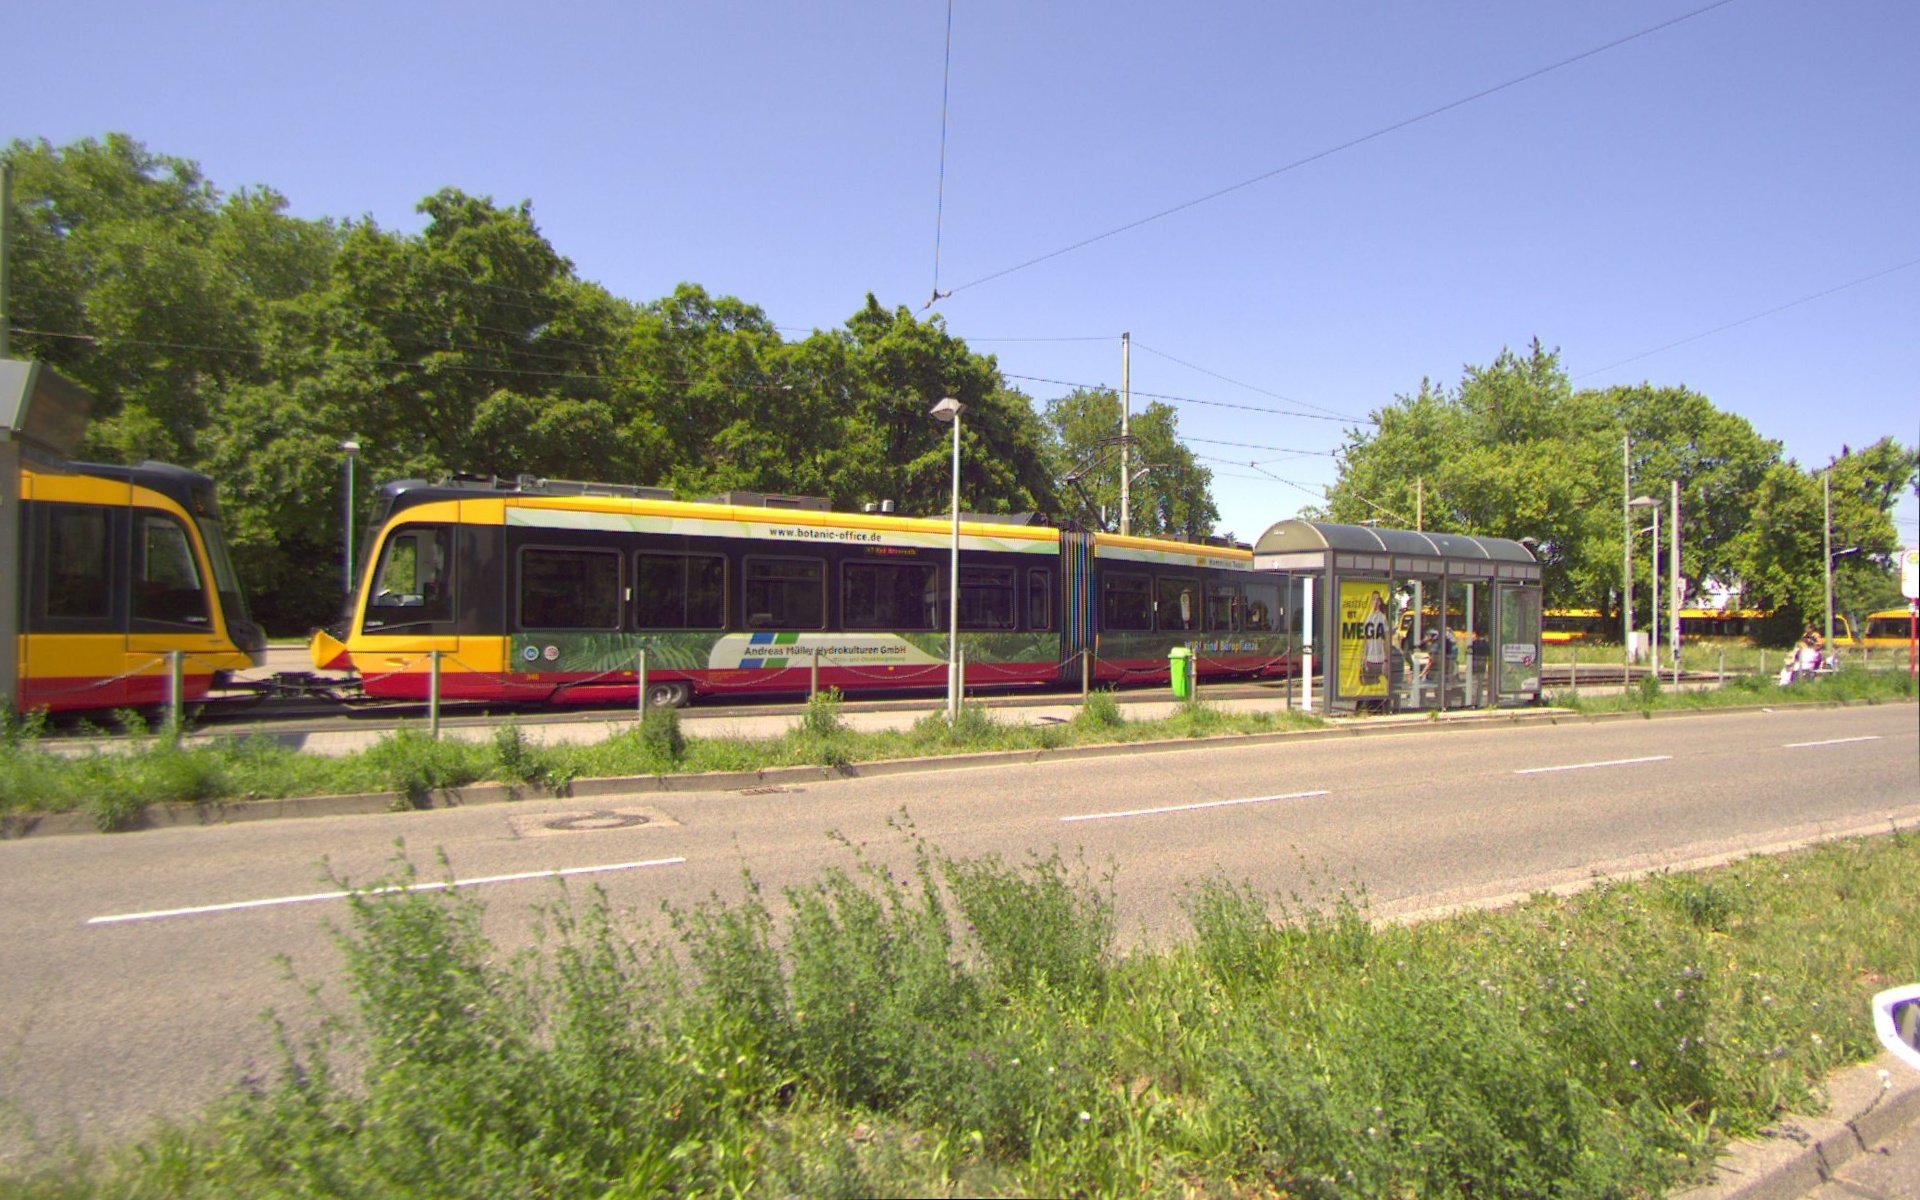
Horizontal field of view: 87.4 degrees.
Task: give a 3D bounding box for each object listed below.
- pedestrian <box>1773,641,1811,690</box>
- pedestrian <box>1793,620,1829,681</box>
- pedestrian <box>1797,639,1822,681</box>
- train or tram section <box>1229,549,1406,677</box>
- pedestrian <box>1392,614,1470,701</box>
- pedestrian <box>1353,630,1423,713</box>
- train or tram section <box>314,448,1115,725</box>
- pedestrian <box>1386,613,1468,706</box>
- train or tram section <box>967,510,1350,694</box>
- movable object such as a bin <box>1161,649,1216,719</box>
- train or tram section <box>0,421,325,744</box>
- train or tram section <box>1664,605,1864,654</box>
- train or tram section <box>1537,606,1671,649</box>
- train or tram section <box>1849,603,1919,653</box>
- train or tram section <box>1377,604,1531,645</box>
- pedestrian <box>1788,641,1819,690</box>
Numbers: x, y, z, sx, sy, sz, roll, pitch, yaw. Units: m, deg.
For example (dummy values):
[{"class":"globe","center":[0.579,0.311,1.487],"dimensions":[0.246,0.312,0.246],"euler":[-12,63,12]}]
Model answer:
[{"class":"pedestrian","center":[21.215,1.668,25.613],"dimensions":[0.530,1.205,0.578],"euler":[1,1,-30]},{"class":"pedestrian","center":[22.401,1.318,26.438],"dimensions":[0.576,1.586,0.532],"euler":[1,1,-31]},{"class":"pedestrian","center":[22.049,1.549,26.060],"dimensions":[0.373,1.072,0.381],"euler":[1,1,-31]},{"class":"train or tram section","center":[12.813,0.396,34.901],"dimensions":[3.001,3.673,12.419],"euler":[2,0,33]},{"class":"pedestrian","center":[8.893,1.058,18.978],"dimensions":[0.974,1.567,0.925],"euler":[1,1,-32]},{"class":"pedestrian","center":[7.076,1.157,16.607],"dimensions":[0.830,1.300,0.697],"euler":[1,1,-32]},{"class":"train or tram section","center":[-3.472,-0.075,18.234],"dimensions":[13.742,3.673,3.027],"euler":[1,0,-32]},{"class":"pedestrian","center":[8.279,1.034,17.822],"dimensions":[1.014,1.567,0.869],"euler":[1,1,-32]},{"class":"train or tram section","center":[5.659,0.104,25.545],"dimensions":[12.368,3.673,3.014],"euler":[1,0,-44]},{"class":"movable object such as a bin","center":[3.362,1.218,14.756],"dimensions":[0.638,0.991,0.478],"euler":[1,-1,-34]},{"class":"train or tram section","center":[-15.120,-0.293,11.452],"dimensions":[13.102,3.817,3.030],"euler":[1,0,-30]},{"class":"train or tram section","center":[66.490,2.330,83.623],"dimensions":[3.016,3.512,12.623],"euler":[1,0,-35]},{"class":"train or tram section","center":[58.795,2.466,92.077],"dimensions":[10.039,3.512,3.041],"euler":[1,0,29]},{"class":"train or tram section","center":[69.583,2.009,71.238],"dimensions":[2.984,3.512,12.757],"euler":[1,0,7]},{"class":"train or tram section","center":[47.323,2.308,96.475],"dimensions":[12.999,3.512,3.047],"euler":[1,0,3]},{"class":"pedestrian","center":[21.671,1.681,25.806],"dimensions":[0.396,1.205,0.491],"euler":[1,1,-31]}]
